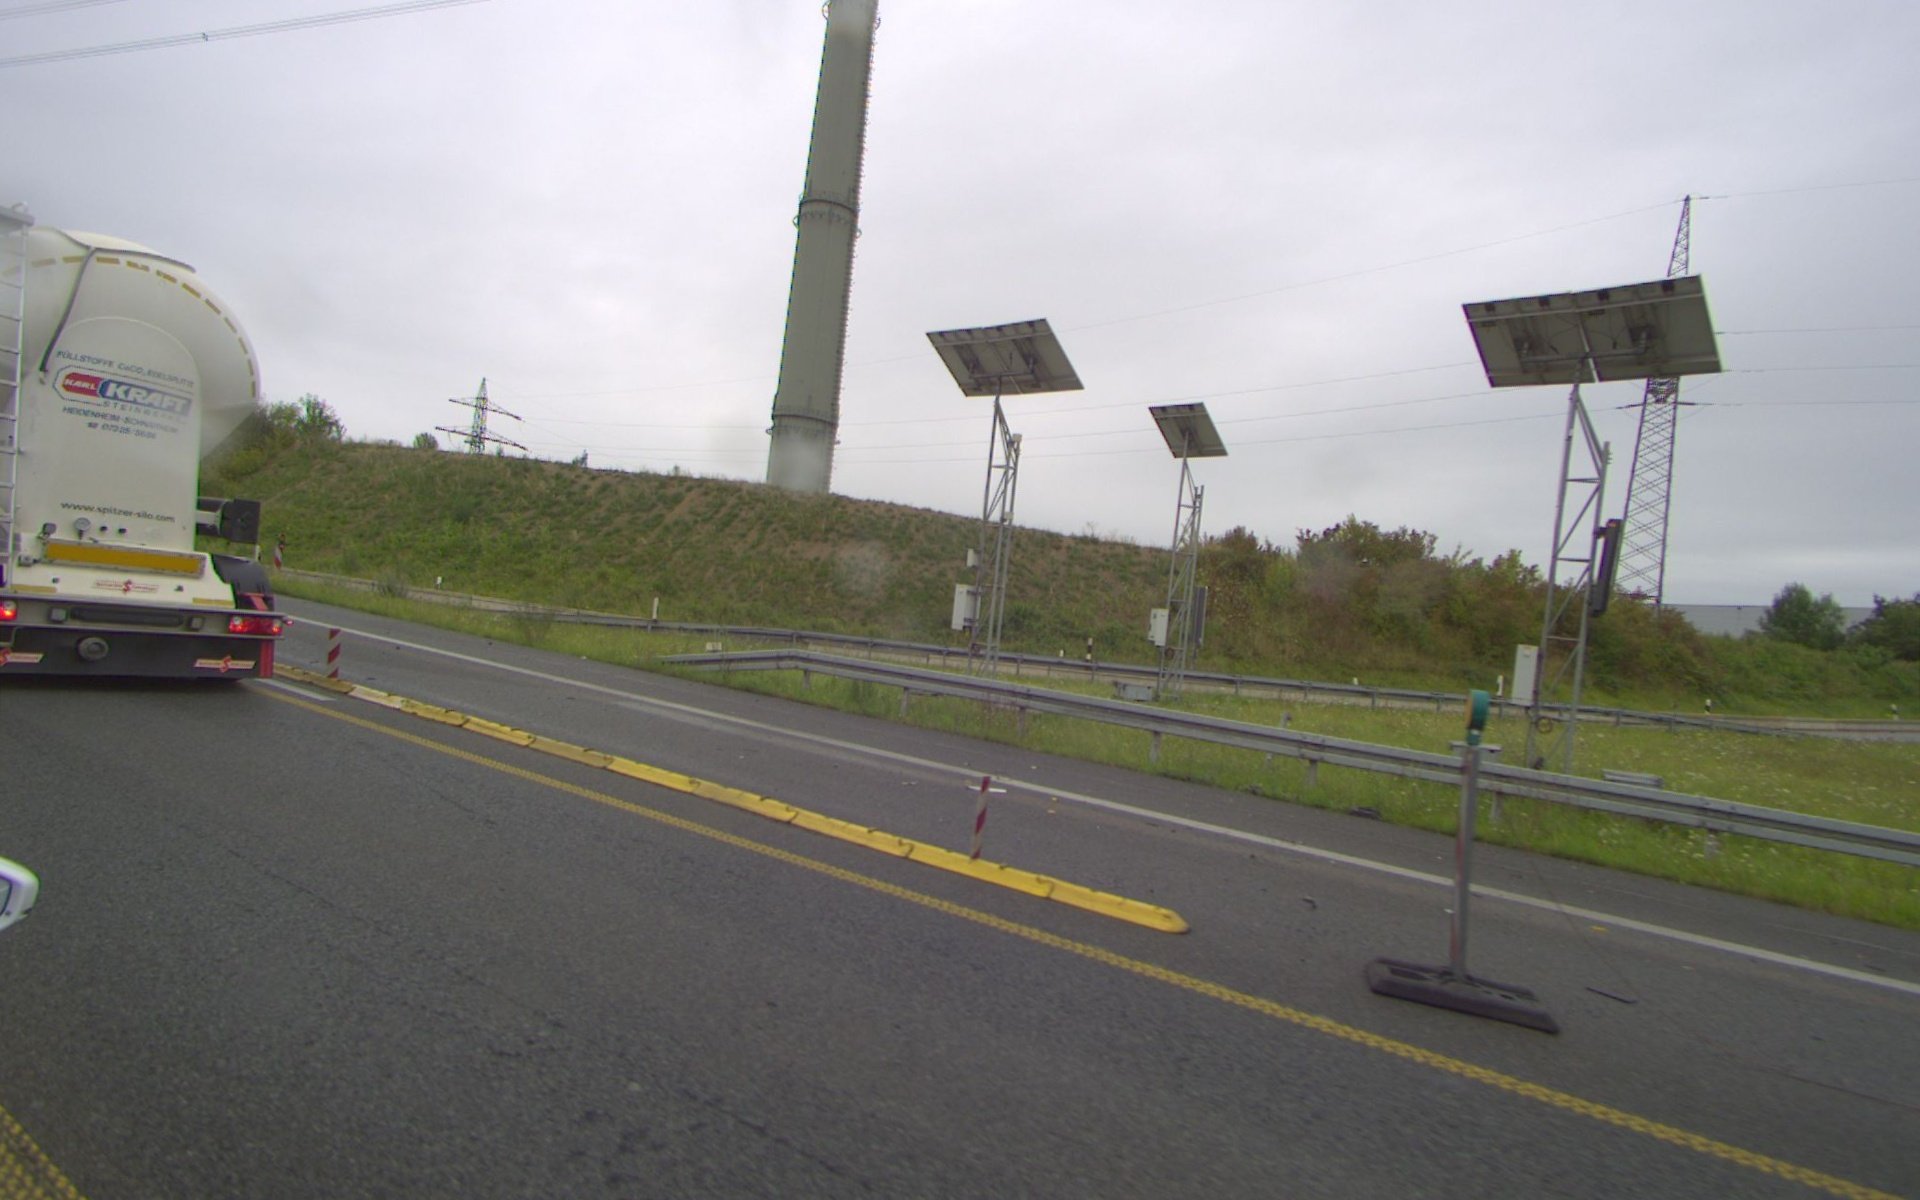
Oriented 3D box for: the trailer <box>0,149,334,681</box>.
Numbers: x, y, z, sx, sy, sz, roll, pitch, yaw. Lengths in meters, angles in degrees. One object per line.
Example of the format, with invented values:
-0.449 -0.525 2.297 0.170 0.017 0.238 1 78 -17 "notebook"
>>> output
-11.885 -1.815 11.528 12.147 3.878 2.524 6 -2 32 "trailer"
